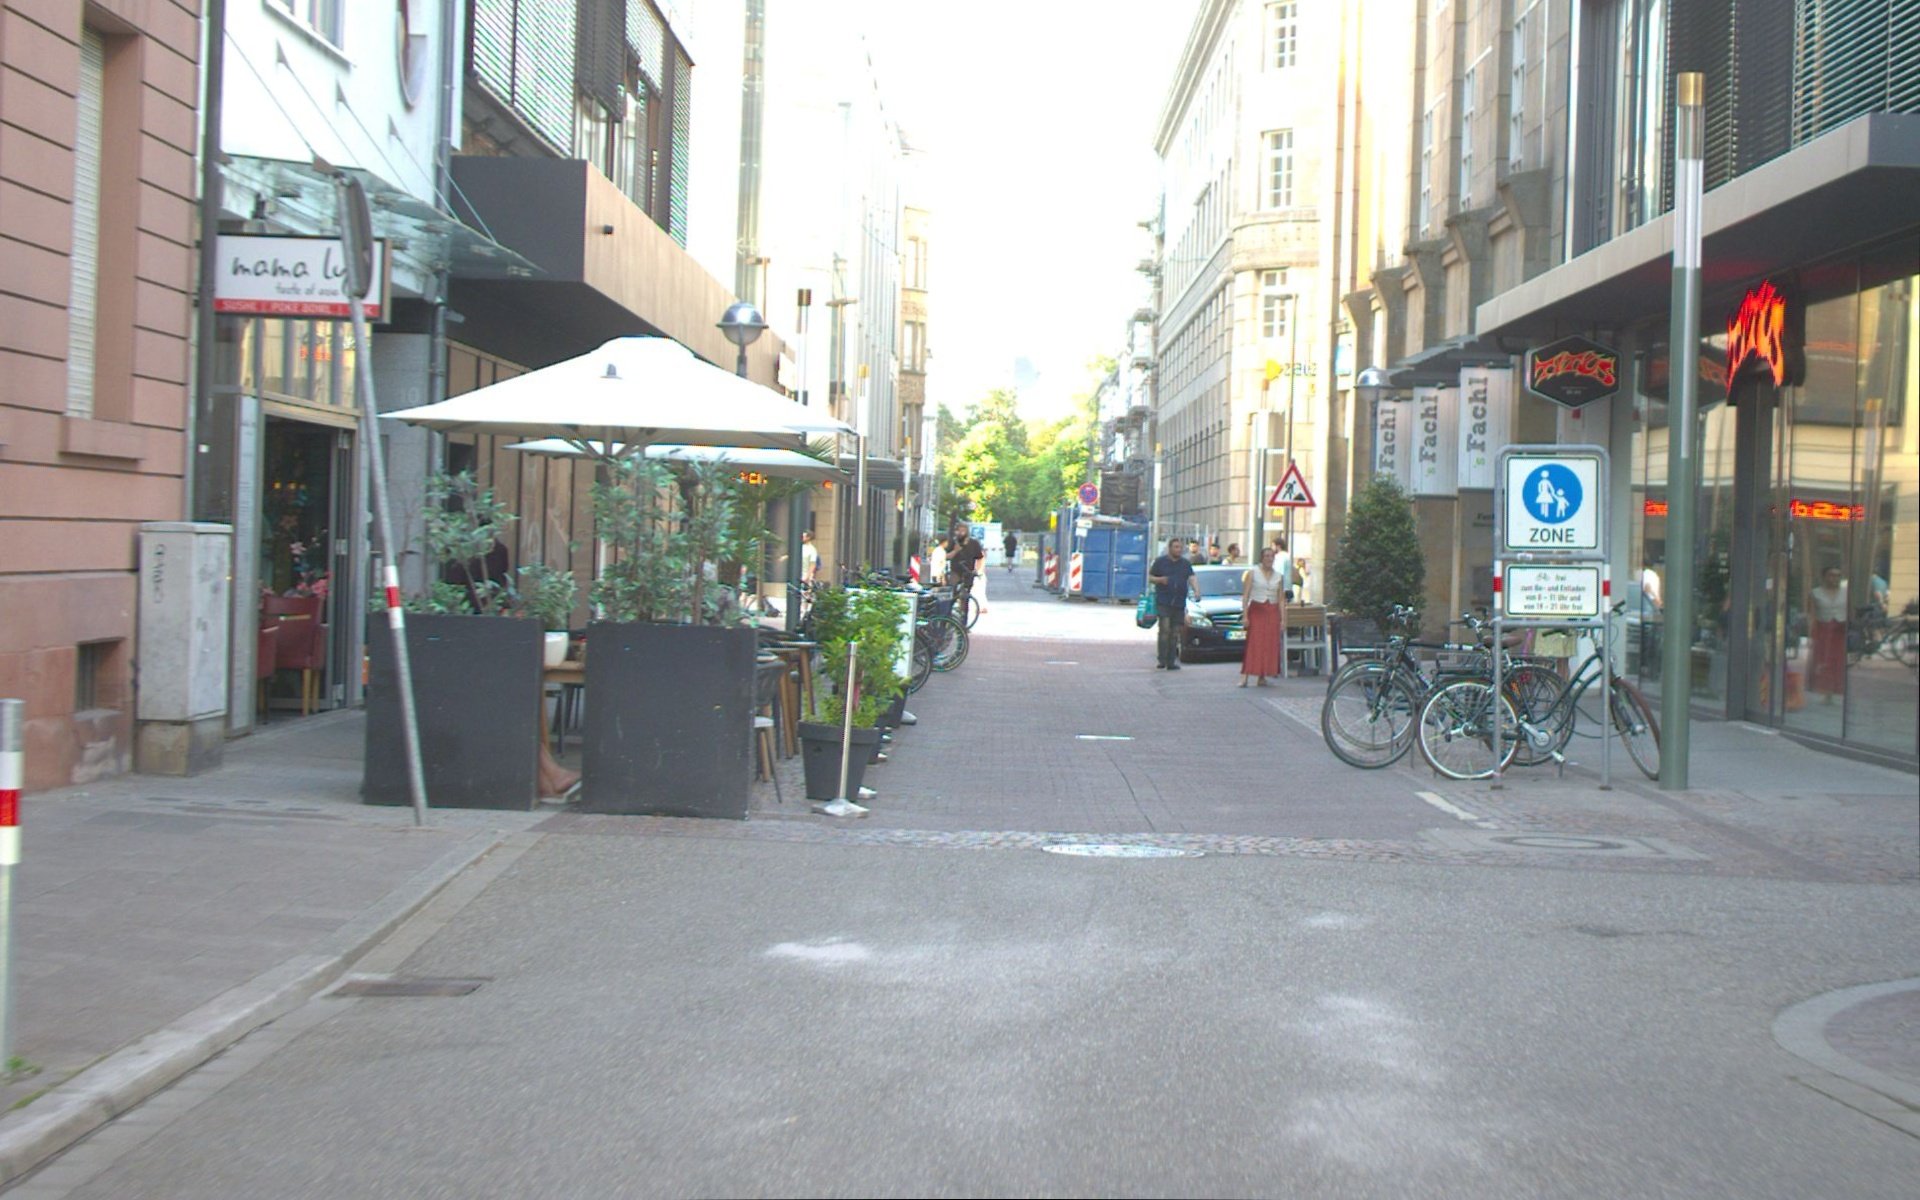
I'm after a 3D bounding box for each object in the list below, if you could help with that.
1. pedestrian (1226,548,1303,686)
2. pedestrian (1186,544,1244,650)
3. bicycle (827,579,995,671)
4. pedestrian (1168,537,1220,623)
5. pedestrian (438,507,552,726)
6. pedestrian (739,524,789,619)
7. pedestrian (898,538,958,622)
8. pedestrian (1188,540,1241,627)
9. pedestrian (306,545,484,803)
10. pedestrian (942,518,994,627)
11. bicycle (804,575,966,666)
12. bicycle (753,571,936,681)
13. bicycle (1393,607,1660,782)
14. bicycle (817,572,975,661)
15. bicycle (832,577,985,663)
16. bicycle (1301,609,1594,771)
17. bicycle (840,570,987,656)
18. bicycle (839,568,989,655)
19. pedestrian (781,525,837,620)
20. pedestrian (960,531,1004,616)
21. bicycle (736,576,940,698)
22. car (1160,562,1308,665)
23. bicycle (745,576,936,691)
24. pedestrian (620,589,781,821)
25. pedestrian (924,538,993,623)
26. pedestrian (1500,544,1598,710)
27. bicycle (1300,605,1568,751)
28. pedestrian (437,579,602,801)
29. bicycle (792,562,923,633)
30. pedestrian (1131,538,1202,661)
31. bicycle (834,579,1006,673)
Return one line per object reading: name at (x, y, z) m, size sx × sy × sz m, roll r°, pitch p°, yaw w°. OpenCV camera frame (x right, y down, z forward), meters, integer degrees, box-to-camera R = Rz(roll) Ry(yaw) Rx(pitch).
pedestrian at (3.522, 0.190, 39.843) m, size 0.797 × 1.560 × 0.859 m, roll 2°, pitch 1°, yaw 1°
pedestrian at (4.545, -0.065, 61.356) m, size 0.904 × 1.853 × 0.836 m, roll 2°, pitch 1°, yaw -1°
bicycle at (-0.611, 0.312, 43.429) m, size 2.048 × 1.013 × 0.467 m, roll 4°, pitch 1°, yaw 0°
pedestrian at (4.574, -0.391, 67.326) m, size 0.904 × 1.655 × 0.793 m, roll 2°, pitch 1°, yaw -2°
pedestrian at (-3.568, 0.117, 26.439) m, size 0.790 × 1.643 × 0.725 m, roll 1°, pitch 1°, yaw -5°
pedestrian at (-3.891, -0.563, 68.314) m, size 0.904 × 1.853 × 0.836 m, roll 2°, pitch 1°, yaw 1°
pedestrian at (-0.672, -0.425, 72.469) m, size 0.863 × 1.728 × 0.932 m, roll 2°, pitch 1°, yaw 33°
pedestrian at (4.925, -0.321, 66.608) m, size 0.904 × 1.655 × 0.793 m, roll 2°, pitch 1°, yaw -2°
pedestrian at (-3.043, 0.388, 18.560) m, size 0.790 × 1.326 × 0.674 m, roll 3°, pitch 1°, yaw -1°
pedestrian at (0.141, -0.480, 59.539) m, size 0.833 × 1.853 × 0.907 m, roll 2°, pitch 1°, yaw -1°
bicycle at (-0.981, 0.266, 45.050) m, size 2.048 × 1.046 × 0.467 m, roll 4°, pitch 1°, yaw 0°
bicycle at (-1.275, 0.284, 38.178) m, size 1.947 × 1.071 × 0.467 m, roll 4°, pitch 1°, yaw 0°
bicycle at (3.749, 0.619, 22.807) m, size 1.697 × 1.132 × 0.467 m, roll 0°, pitch 1°, yaw 0°
bicycle at (-0.859, 0.219, 46.372) m, size 2.048 × 1.046 × 0.467 m, roll 4°, pitch 1°, yaw 0°
bicycle at (-0.705, 0.273, 47.748) m, size 2.048 × 1.046 × 0.467 m, roll 4°, pitch 1°, yaw 0°
bicycle at (3.444, 0.631, 24.363) m, size 2.009 × 1.117 × 0.467 m, roll 0°, pitch 1°, yaw 0°
bicycle at (-0.663, 0.184, 49.747) m, size 2.048 × 1.091 × 0.467 m, roll 4°, pitch 1°, yaw 0°
bicycle at (-0.649, 0.165, 48.907) m, size 2.048 × 1.091 × 0.467 m, roll 4°, pitch 1°, yaw 0°
pedestrian at (-3.024, -0.556, 68.886) m, size 1.025 × 1.853 × 0.906 m, roll 2°, pitch 1°, yaw 1°
pedestrian at (0.486, -0.592, 75.850) m, size 0.904 × 1.853 × 0.836 m, roll 2°, pitch 1°, yaw 1°
bicycle at (-1.214, 0.366, 34.293) m, size 1.947 × 1.071 × 0.467 m, roll 4°, pitch 1°, yaw 0°
car at (4.045, 0.171, 51.319) m, size 1.754 × 1.436 × 3.929 m, roll 1°, pitch 1°, yaw -2°
bicycle at (-1.264, 0.350, 36.489) m, size 1.947 × 1.071 × 0.467 m, roll 4°, pitch 1°, yaw 0°
pedestrian at (-1.404, 0.558, 18.577) m, size 0.790 × 1.179 × 0.674 m, roll 3°, pitch 1°, yaw -5°
pedestrian at (-0.031, -0.404, 71.703) m, size 1.011 × 1.728 × 0.979 m, roll 2°, pitch 1°, yaw 33°
pedestrian at (5.650, 0.249, 33.020) m, size 0.797 × 1.560 × 0.859 m, roll 2°, pitch 1°, yaw 3°
bicycle at (3.717, 0.607, 27.031) m, size 2.034 × 1.117 × 0.467 m, roll 0°, pitch 1°, yaw 0°
pedestrian at (-2.473, 0.495, 19.373) m, size 0.790 × 1.179 × 0.674 m, roll 3°, pitch 1°, yaw -1°
bicycle at (-1.667, -0.046, 55.887) m, size 2.048 × 1.010 × 0.467 m, roll 4°, pitch 1°, yaw 0°
pedestrian at (2.830, -0.016, 47.194) m, size 0.899 × 1.655 × 0.930 m, roll 2°, pitch 1°, yaw 2°
bicycle at (-0.487, 0.315, 42.332) m, size 2.048 × 1.013 × 0.467 m, roll 4°, pitch 1°, yaw 0°
